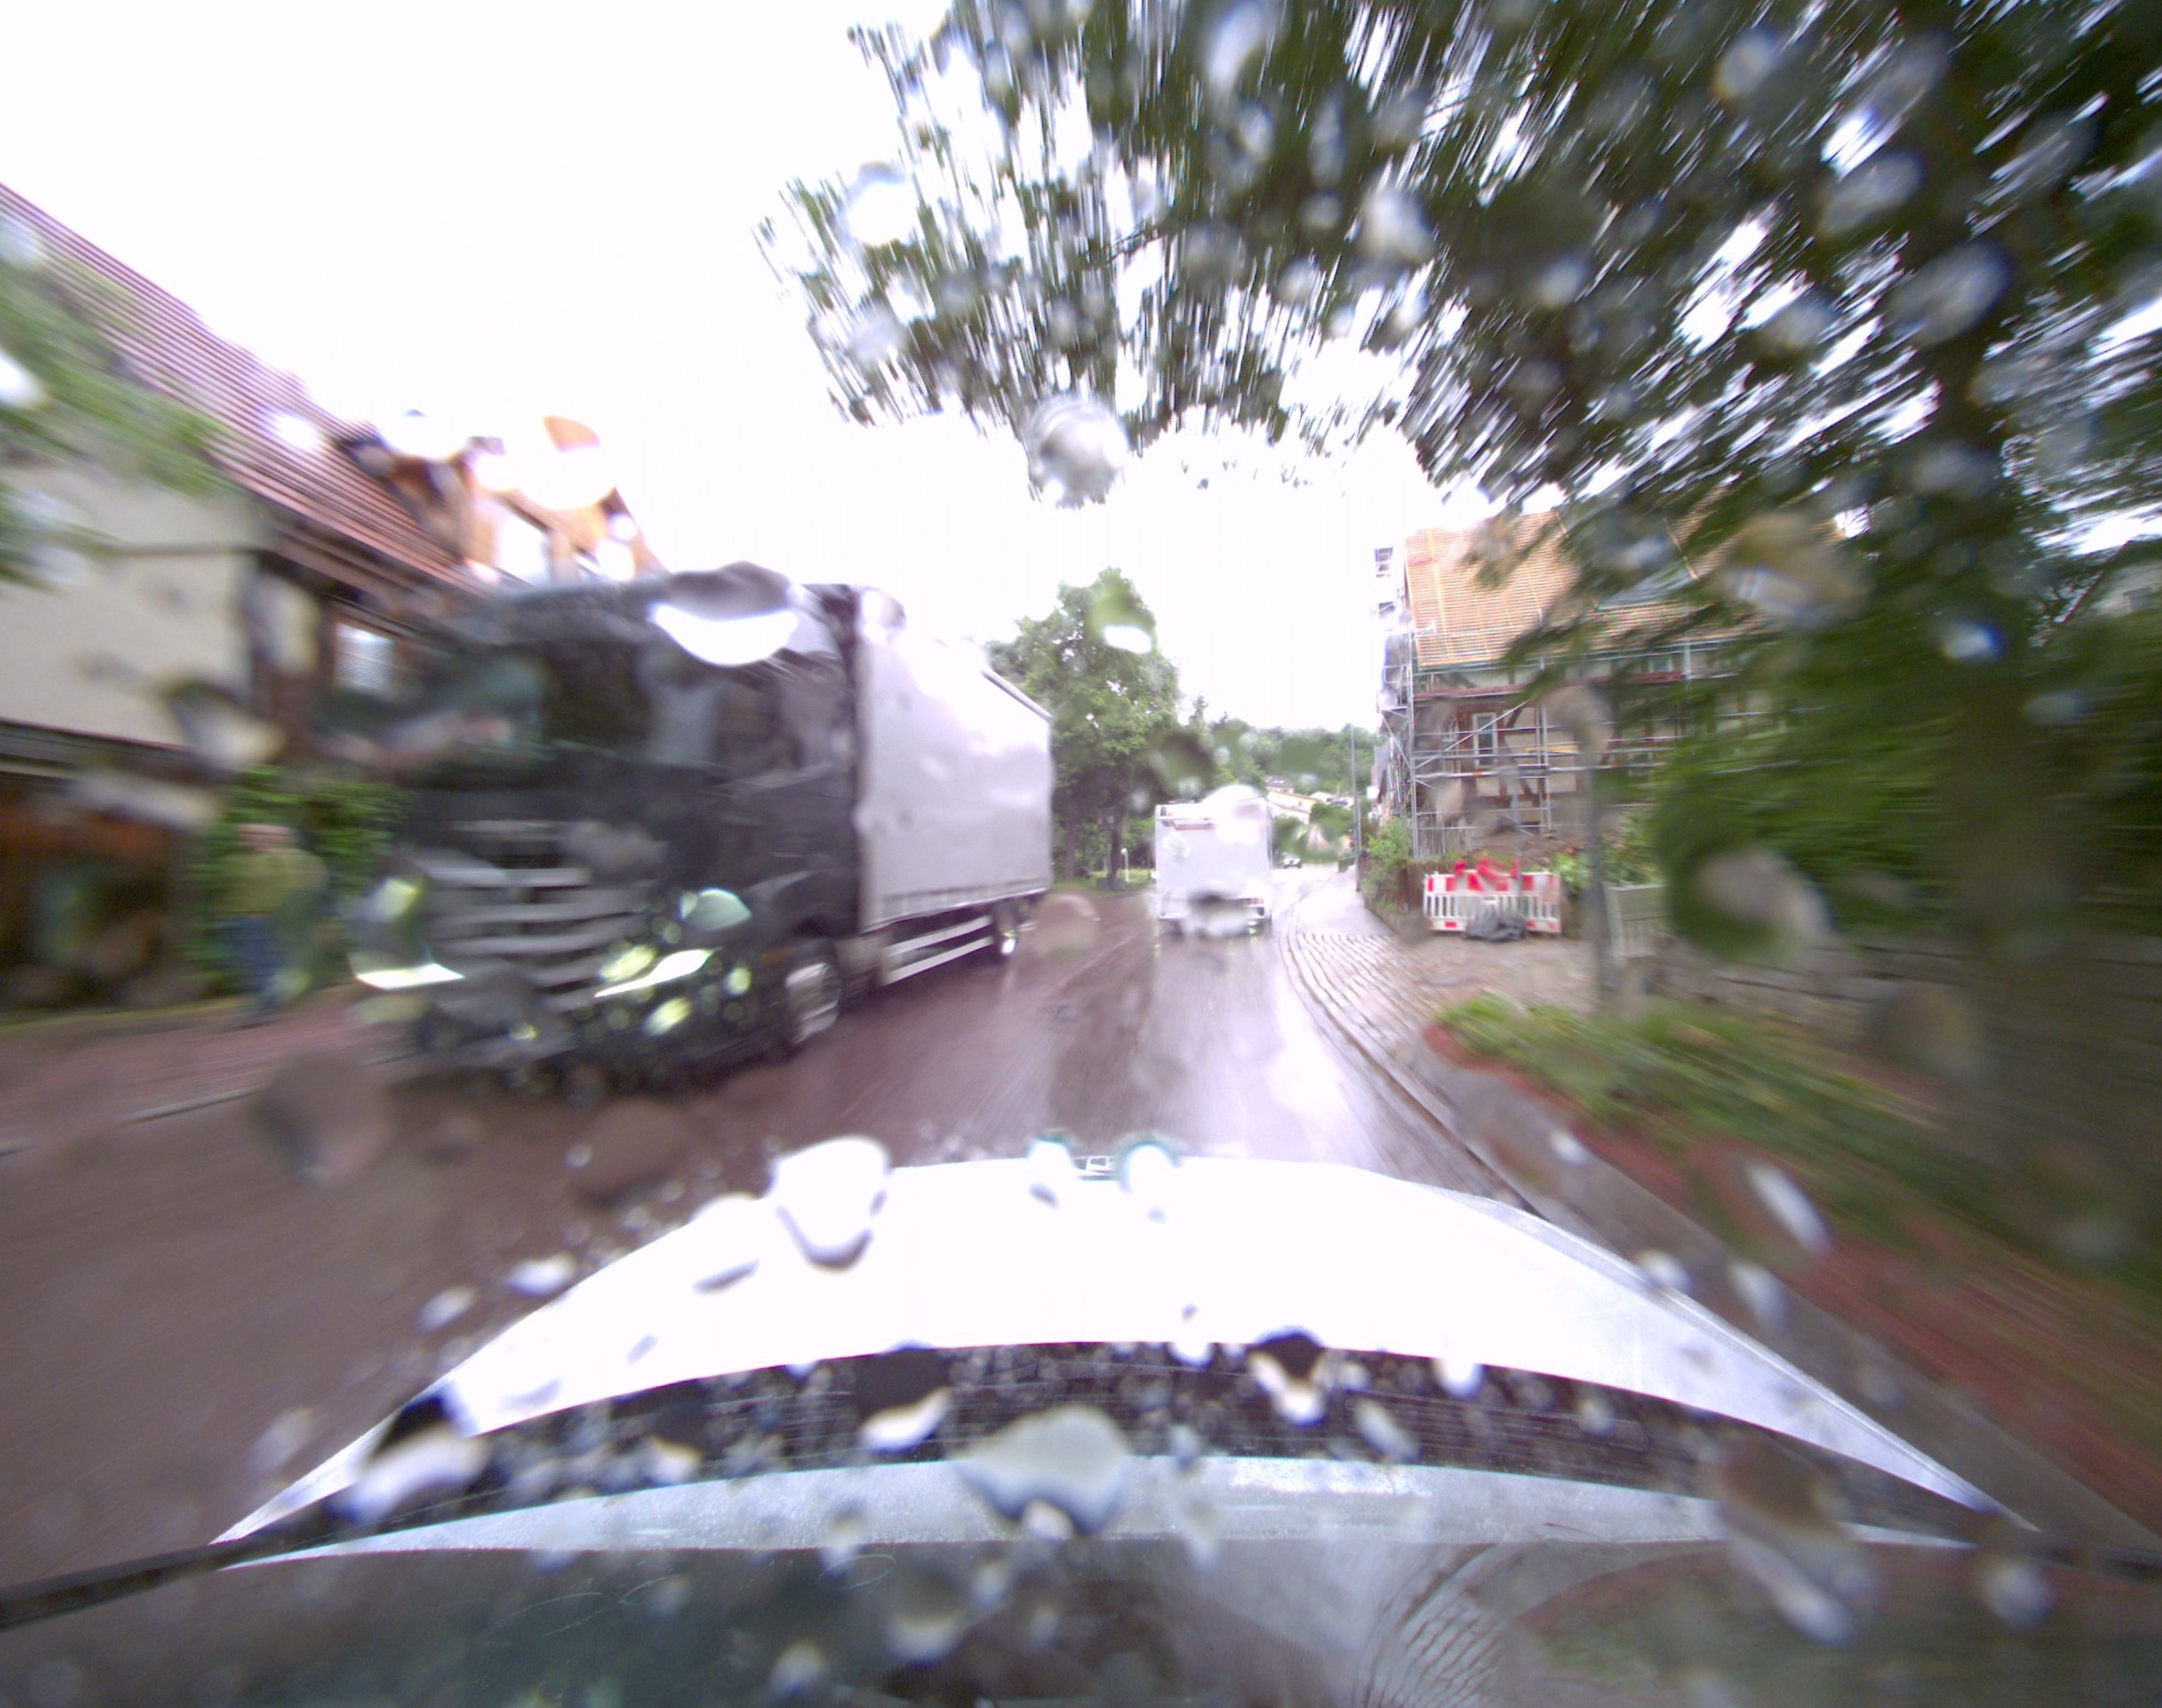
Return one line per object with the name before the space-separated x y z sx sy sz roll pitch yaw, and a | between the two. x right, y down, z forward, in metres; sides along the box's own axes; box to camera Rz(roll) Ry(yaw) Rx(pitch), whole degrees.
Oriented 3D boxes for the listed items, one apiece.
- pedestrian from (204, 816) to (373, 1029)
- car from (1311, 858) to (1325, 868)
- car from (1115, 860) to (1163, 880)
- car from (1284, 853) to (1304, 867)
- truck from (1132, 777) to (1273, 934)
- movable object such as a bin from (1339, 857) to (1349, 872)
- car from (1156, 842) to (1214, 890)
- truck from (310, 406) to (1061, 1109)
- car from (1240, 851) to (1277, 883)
pedestrian | -7.477 0.612 7.745 0.796 1.868 0.910 0 -1 -19
car | 37.221 1.382 128.060 1.662 1.568 3.589 -1 -1 23
car | 5.197 1.399 72.995 3.985 1.762 1.994 0 -1 -9
car | 23.804 0.682 90.918 1.662 1.568 3.589 -1 -1 23
truck | 3.047 0.050 18.820 2.676 2.986 6.259 0 0 13
movable object such as a bin | 20.542 0.819 63.587 0.719 1.202 0.733 -2 -1 17
car | 4.423 0.514 34.133 1.980 1.895 4.014 0 -1 13
truck | -2.674 -0.548 9.969 2.820 4.166 10.005 0 0 10
car | 11.180 0.811 51.155 1.978 1.895 4.017 0 -1 17
